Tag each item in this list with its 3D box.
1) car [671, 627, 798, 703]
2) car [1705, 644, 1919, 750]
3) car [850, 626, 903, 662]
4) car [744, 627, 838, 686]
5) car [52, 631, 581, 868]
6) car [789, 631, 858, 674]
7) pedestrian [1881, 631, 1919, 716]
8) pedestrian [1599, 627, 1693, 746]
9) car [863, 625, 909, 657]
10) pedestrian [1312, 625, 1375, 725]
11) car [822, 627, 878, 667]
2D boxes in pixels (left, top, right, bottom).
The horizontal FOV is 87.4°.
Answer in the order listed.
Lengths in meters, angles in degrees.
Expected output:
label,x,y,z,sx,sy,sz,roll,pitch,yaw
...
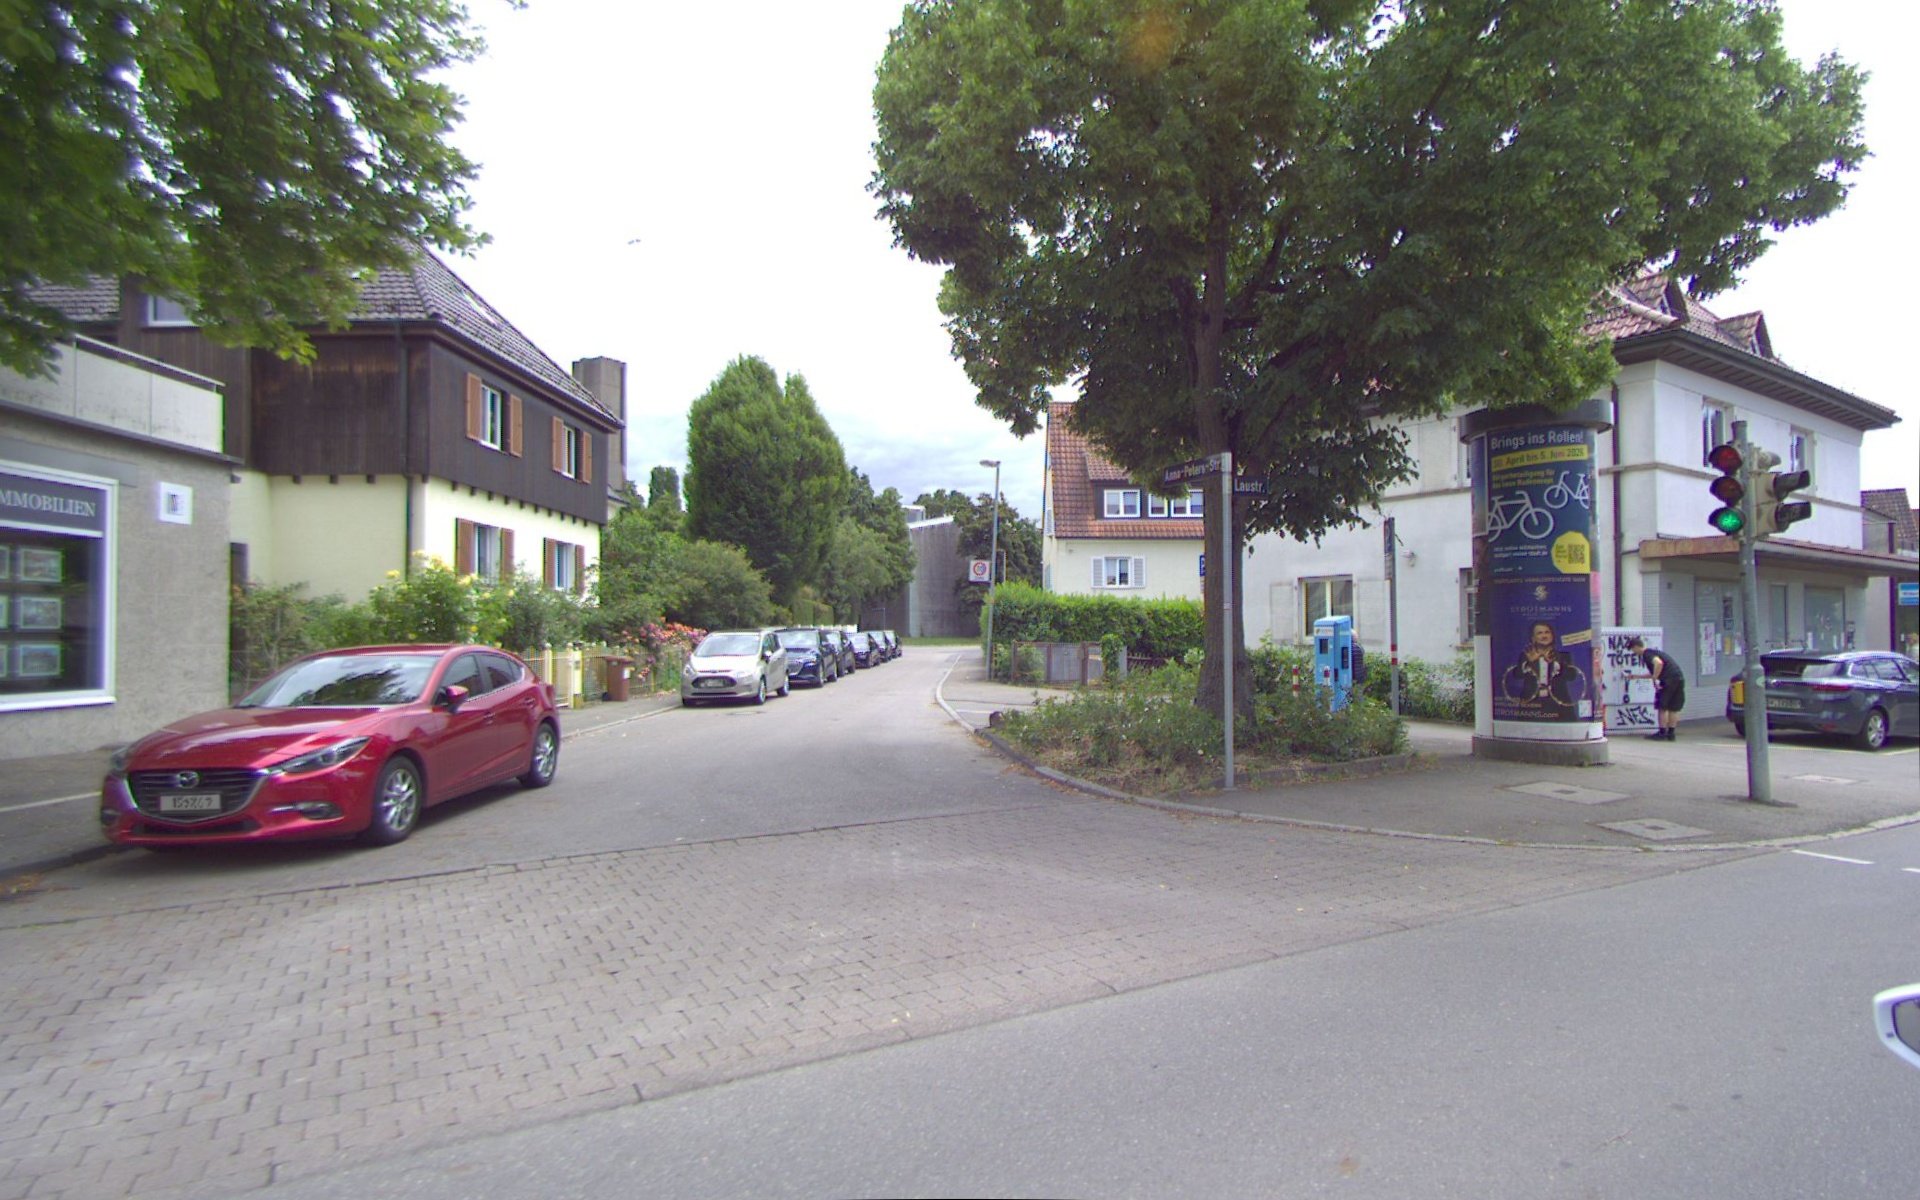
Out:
label,x,y,z,sx,sy,sz,roll,pitch,yaw
car,-4.874,1.365,22.278,1.795,1.509,3.980,-1,-2,2
car,14.417,1.557,16.278,4.462,1.460,1.775,3,-1,-24
car,-3.727,1.971,45.279,1.960,1.543,3.817,0,-2,2
car,-4.611,1.507,27.974,1.890,1.514,4.435,0,-2,-1
car,-4.891,1.028,8.508,1.781,1.451,4.234,-1,-2,-1
car,-4.596,1.753,34.279,1.701,1.361,3.980,0,-2,2
pedestrian,20.614,1.579,21.713,0.955,1.774,0.875,3,-1,-37
pedestrian,10.511,1.300,15.413,0.748,1.741,0.886,2,0,-16
car,-3.736,2.068,51.177,1.960,1.543,3.817,0,-2,2
pedestrian,6.496,1.244,17.016,0.706,1.638,0.695,0,-1,-26
car,-4.412,1.878,40.706,1.719,1.543,3.817,0,-2,2
